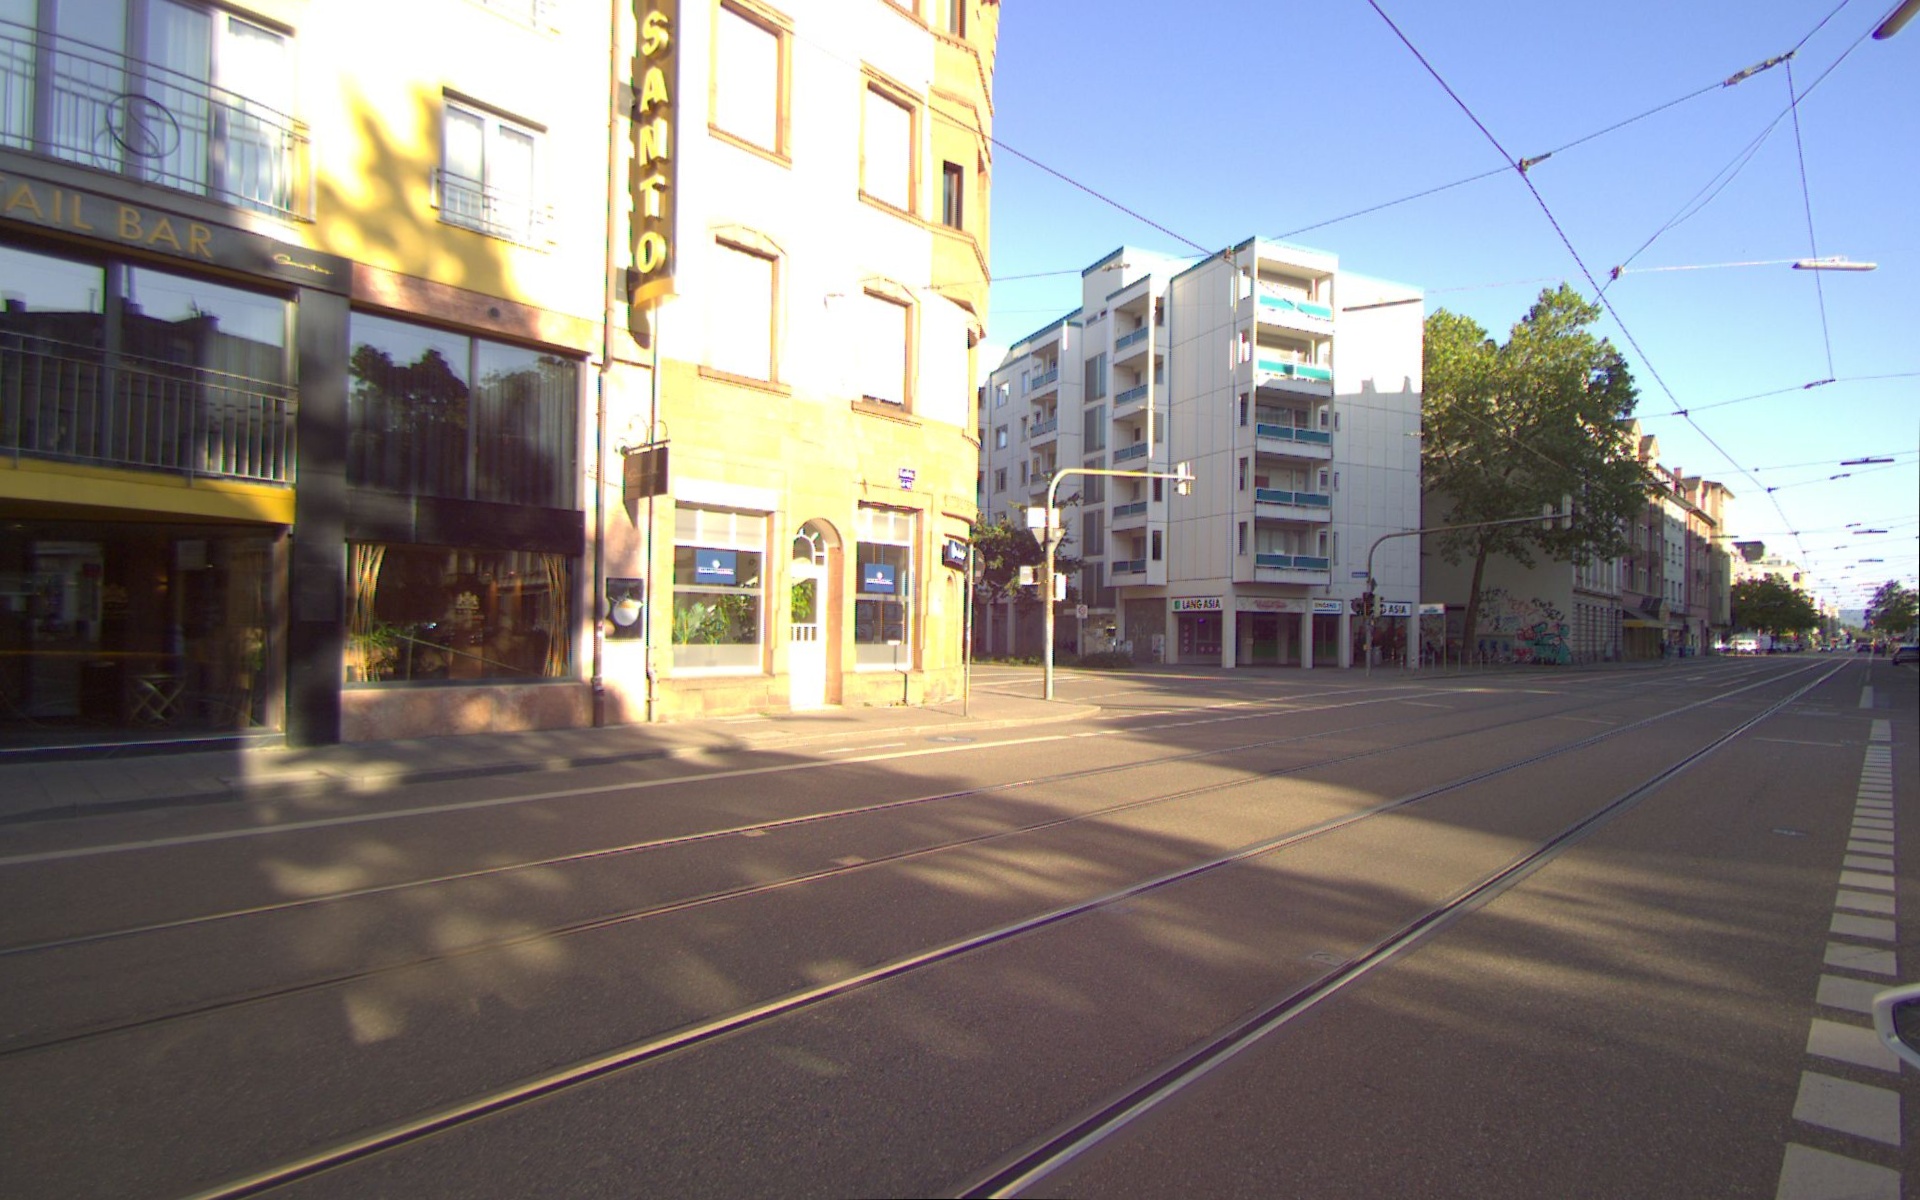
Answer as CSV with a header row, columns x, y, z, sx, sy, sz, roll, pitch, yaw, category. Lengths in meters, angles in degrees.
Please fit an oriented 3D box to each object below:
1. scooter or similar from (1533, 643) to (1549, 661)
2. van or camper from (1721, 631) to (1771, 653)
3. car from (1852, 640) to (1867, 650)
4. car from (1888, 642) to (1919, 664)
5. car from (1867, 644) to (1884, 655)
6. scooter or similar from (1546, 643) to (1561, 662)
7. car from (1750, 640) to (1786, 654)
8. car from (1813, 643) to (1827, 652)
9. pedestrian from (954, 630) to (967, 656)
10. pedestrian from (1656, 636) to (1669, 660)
x,y,z,sx,sy,sz,roll,pitch,yaw,category
33.450,2.988,57.805,0.510,1.059,1.471,0,-2,41,scooter or similar
101.132,5.411,129.295,4.555,2.597,2.001,1,-1,12,van or camper
167.760,8.385,187.322,1.971,1.750,3.979,0,-2,42,car
77.693,4.341,82.624,1.930,1.706,3.976,0,-2,44,car
143.963,7.813,158.021,1.971,1.750,3.979,0,-2,42,car
33.914,2.985,57.407,0.510,1.071,1.471,0,-2,41,scooter or similar
124.667,7.265,155.063,3.920,2.040,2.001,0,-2,19,car
151.960,8.459,177.452,1.799,1.461,3.978,0,-2,43,car
0.017,2.889,67.637,0.653,1.718,0.644,2,-1,-24,pedestrian
51.039,3.477,73.006,0.693,1.751,0.644,0,-2,43,pedestrian
